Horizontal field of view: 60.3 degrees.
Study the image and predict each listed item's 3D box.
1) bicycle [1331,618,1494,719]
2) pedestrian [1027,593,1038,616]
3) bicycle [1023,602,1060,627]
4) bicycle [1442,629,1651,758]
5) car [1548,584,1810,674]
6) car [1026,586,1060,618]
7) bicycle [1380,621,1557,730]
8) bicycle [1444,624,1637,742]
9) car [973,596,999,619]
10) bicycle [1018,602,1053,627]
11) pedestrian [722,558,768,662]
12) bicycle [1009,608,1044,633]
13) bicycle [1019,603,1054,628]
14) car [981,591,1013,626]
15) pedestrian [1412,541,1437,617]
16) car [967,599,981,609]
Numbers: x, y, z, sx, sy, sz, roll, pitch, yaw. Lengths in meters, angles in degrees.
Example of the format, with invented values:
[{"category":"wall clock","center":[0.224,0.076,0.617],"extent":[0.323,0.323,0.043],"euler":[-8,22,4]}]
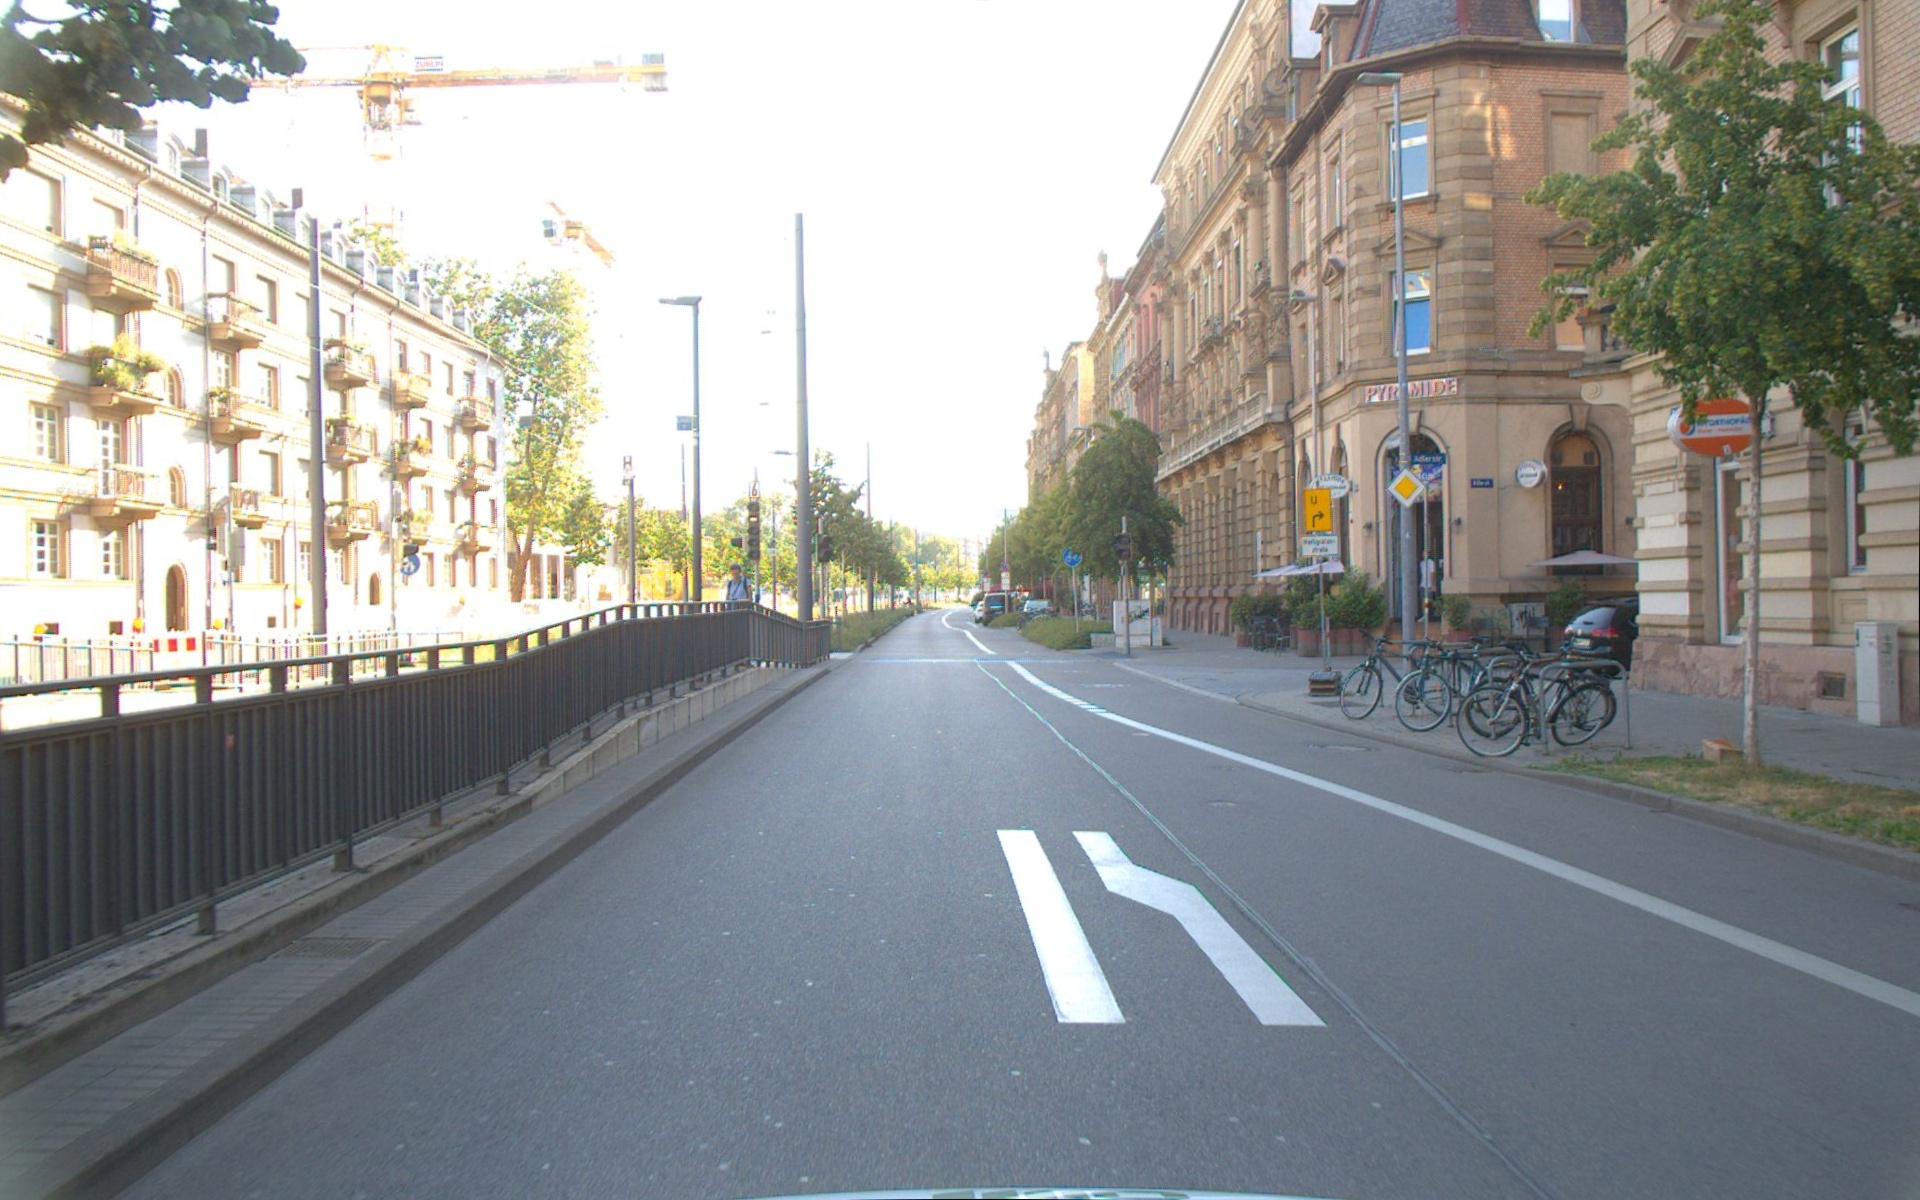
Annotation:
[{"category":"bicycle","center":[5.624,0.836,20.593],"extent":[1.791,1.083,0.663],"euler":[-4,1,-6]},{"category":"pedestrian","center":[4.667,0.276,106.802],"extent":[0.612,1.485,0.638],"euler":[-1,0,-1]},{"category":"bicycle","center":[3.831,0.690,77.937],"extent":[1.660,1.066,0.488],"euler":[-3,0,-9]},{"category":"bicycle","center":[5.793,0.911,16.366],"extent":[1.791,1.083,0.663],"euler":[-4,1,-6]},{"category":"car","center":[12.729,0.511,29.338],"extent":[4.069,1.412,1.613],"euler":[-2,-1,-13]},{"category":"car","center":[4.307,0.082,86.395],"extent":[1.603,1.511,4.213],"euler":[-3,1,1]},{"category":"bicycle","center":[5.868,0.857,19.125],"extent":[1.791,1.083,0.663],"euler":[-4,1,-6]},{"category":"bicycle","center":[6.215,0.873,17.748],"extent":[1.791,1.083,0.663],"euler":[-4,1,-6]},{"category":"car","center":[1.815,0.502,116.269],"extent":[1.811,1.483,4.157],"euler":[-2,1,0]},{"category":"bicycle","center":[3.591,0.686,78.469],"extent":[1.547,1.066,0.488],"euler":[-3,0,-9]},{"category":"pedestrian","center":[-3.503,0.165,26.984],"extent":[0.641,1.671,0.867],"euler":[-1,-1,-1]},{"category":"bicycle","center":[3.252,0.993,80.981],"extent":[1.657,1.066,0.489],"euler":[-5,0,-1]},{"category":"bicycle","center":[3.542,0.722,76.641],"extent":[1.547,1.066,0.488],"euler":[-3,0,-9]},{"category":"car","center":[2.279,0.507,102.964],"extent":[1.846,1.971,4.474],"euler":[-1,1,0]},{"category":"pedestrian","center":[10.951,-0.502,39.025],"extent":[0.437,1.771,0.542],"euler":[-1,0,27]},{"category":"car","center":[2.128,0.563,255.678],"extent":[1.759,1.489,4.003],"euler":[-1,0,6]}]
